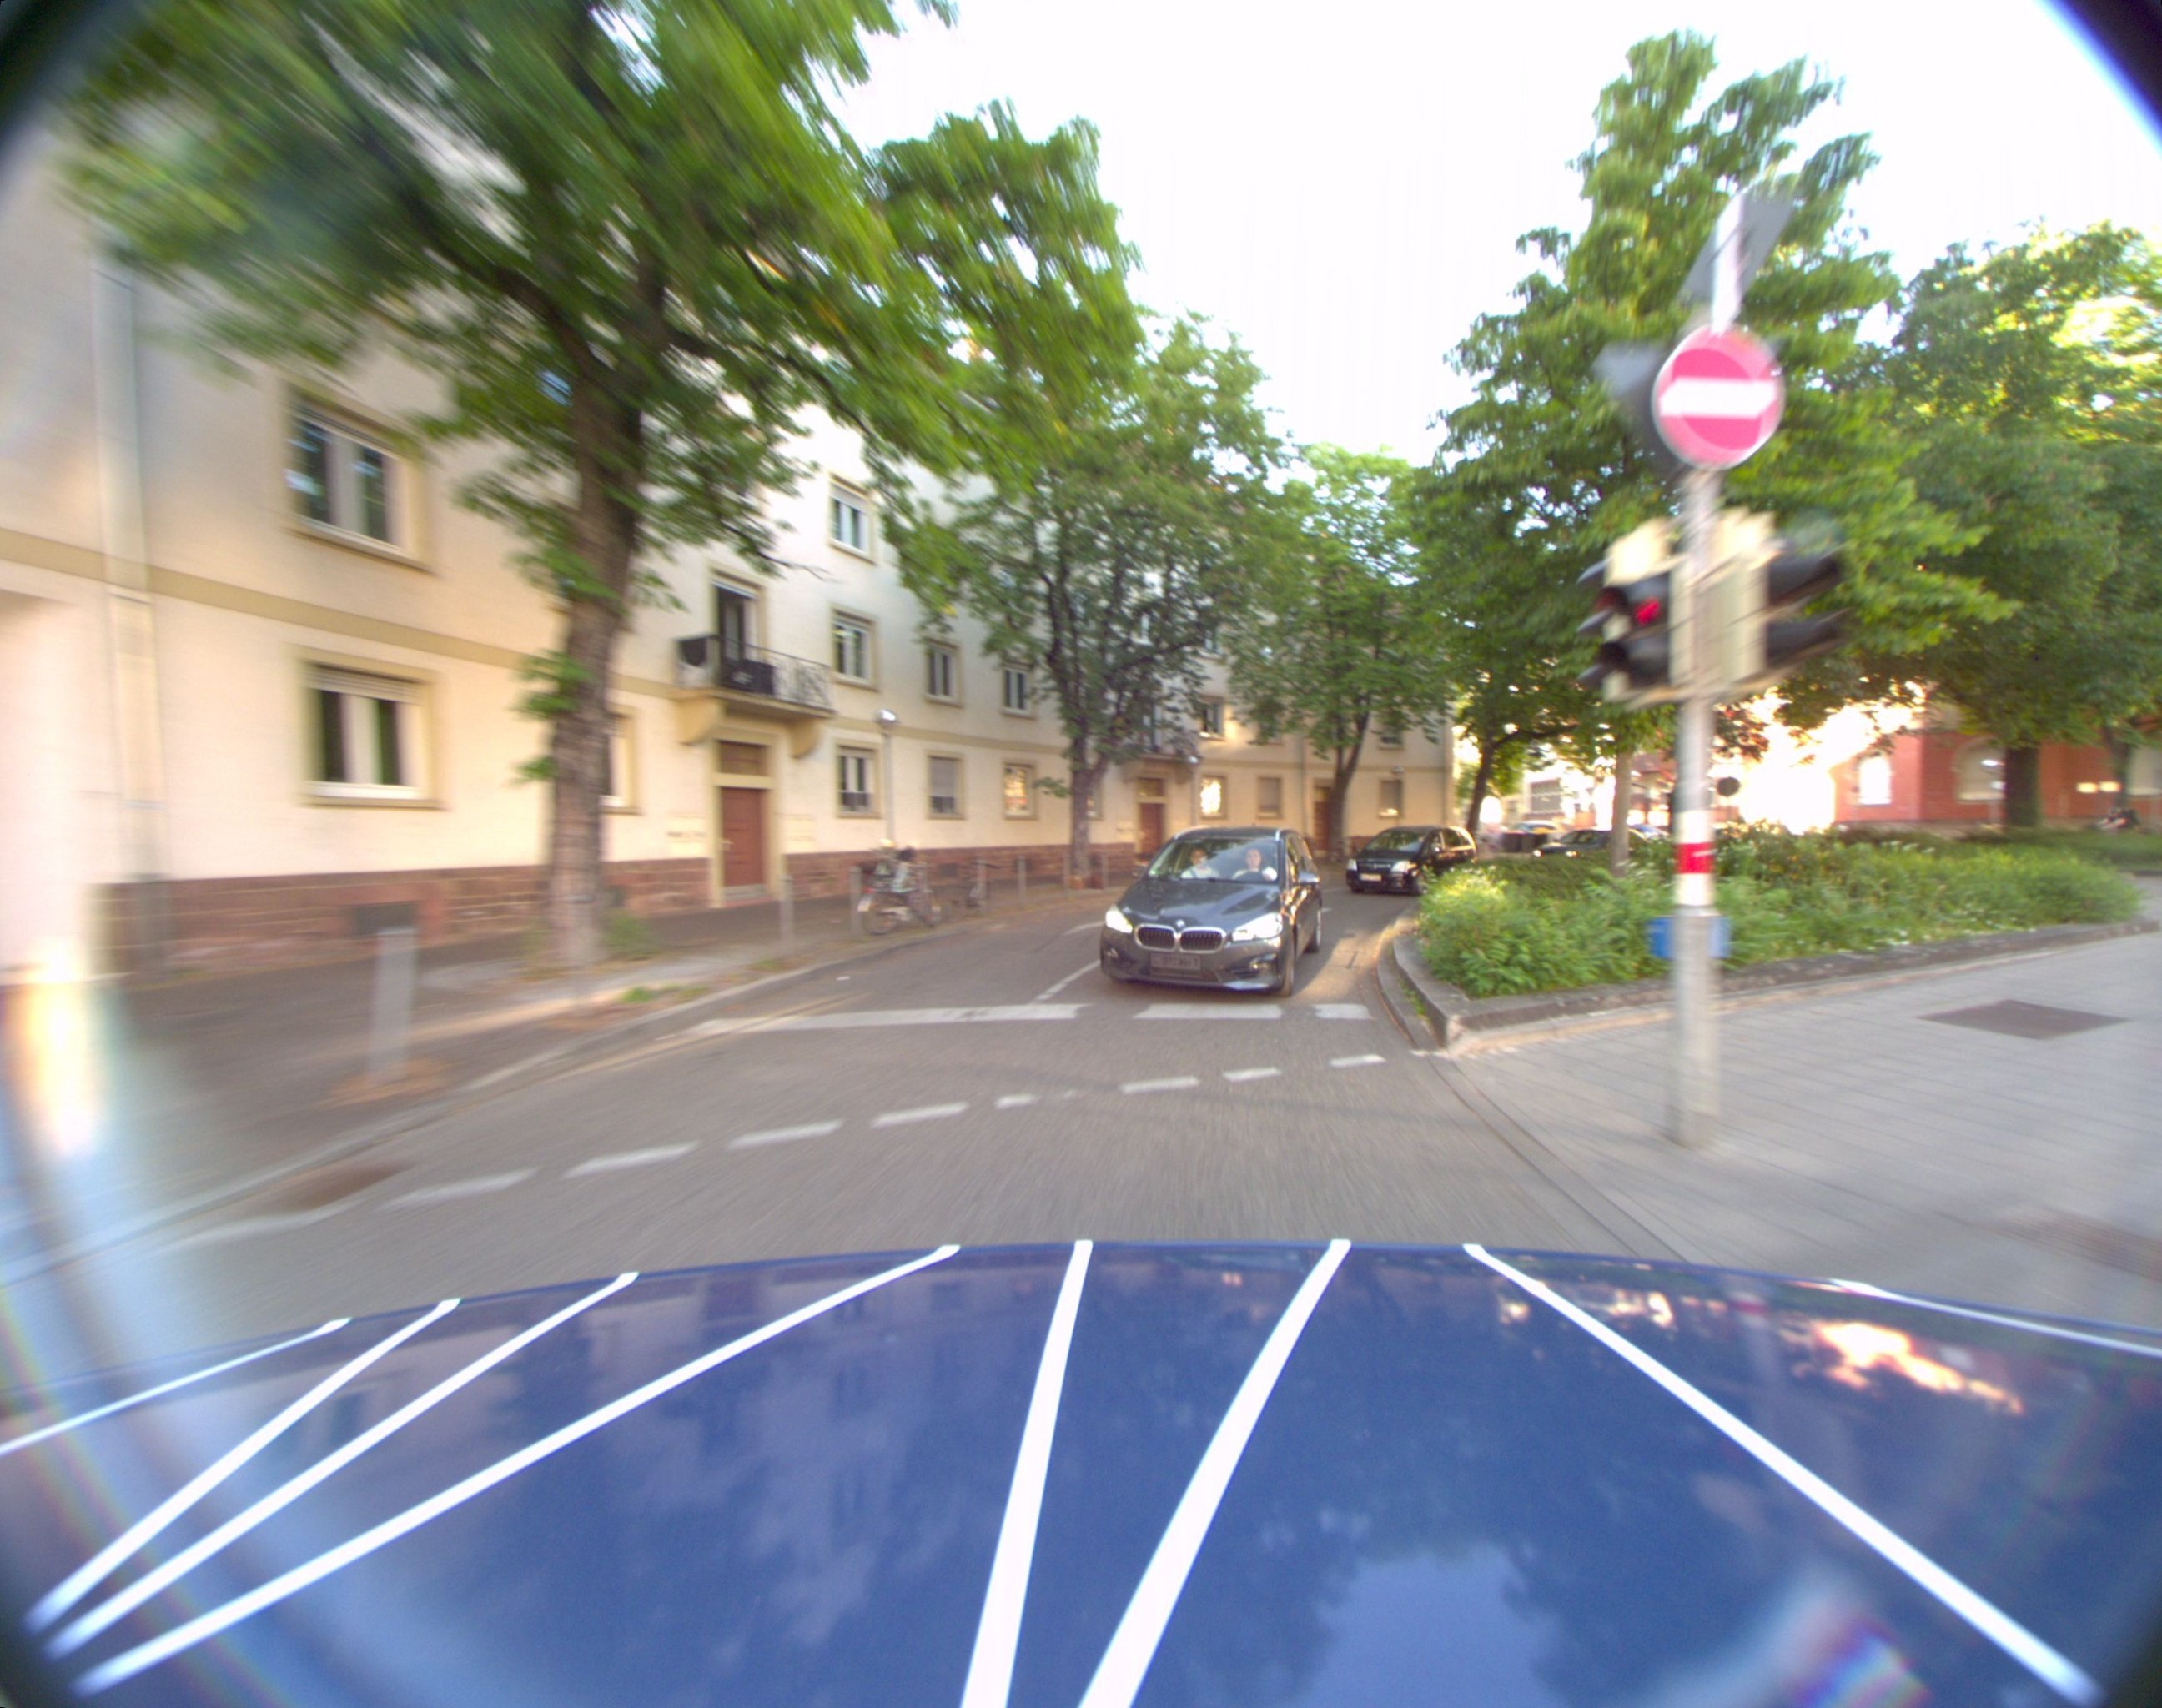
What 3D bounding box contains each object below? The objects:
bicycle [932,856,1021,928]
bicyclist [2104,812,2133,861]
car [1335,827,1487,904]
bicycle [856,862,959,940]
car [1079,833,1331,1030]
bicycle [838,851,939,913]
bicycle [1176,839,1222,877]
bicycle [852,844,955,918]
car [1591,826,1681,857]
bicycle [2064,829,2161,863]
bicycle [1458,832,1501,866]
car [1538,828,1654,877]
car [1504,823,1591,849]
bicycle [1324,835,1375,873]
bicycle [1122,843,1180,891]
[{"bbox_3d":[-1.775,0.614,13.141,0.526,1.101,1.744,4,4,30],"label":"bicycle"},{"bbox_3d":[33.485,-0.562,24.528,0.496,1.565,0.499,-2,3,-36],"label":"bicyclist"},{"bbox_3d":[7.921,0.185,18.137,3.694,1.619,1.675,-2,4,-37],"label":"car"},{"bbox_3d":[-2.617,0.679,11.635,0.480,1.058,1.639,4,3,32],"label":"bicycle"},{"bbox_3d":[1.647,0.580,8.516,1.790,1.570,4.266,1,2,23],"label":"car"},{"bbox_3d":[-3.792,0.513,15.153,0.667,1.101,1.970,1,2,35],"label":"bicycle"},{"bbox_3d":[3.780,0.106,24.225,0.800,1.112,1.861,1,2,30],"label":"bicycle"},{"bbox_3d":[-3.364,0.466,14.582,0.717,1.270,1.970,3,4,34],"label":"bicycle"},{"bbox_3d":[29.556,-0.681,40.631,1.804,1.544,4.185,0,2,2],"label":"car"},{"bbox_3d":[33.486,-0.277,24.594,0.639,1.051,1.976,-2,3,-36],"label":"bicycle"},{"bbox_3d":[15.806,-0.225,30.109,1.906,1.298,0.766,-2,3,-38],"label":"bicycle"},{"bbox_3d":[16.535,-0.101,24.360,3.694,1.401,1.676,-2,4,-32],"label":"car"},{"bbox_3d":[25.702,-1.004,41.930,3.801,1.417,1.675,0,2,-1],"label":"car"},{"bbox_3d":[9.138,-0.024,25.875,1.918,1.216,0.717,-2,3,-39],"label":"bicycle"},{"bbox_3d":[1.778,0.305,19.058,0.513,1.090,1.977,4,4,34],"label":"bicycle"}]
